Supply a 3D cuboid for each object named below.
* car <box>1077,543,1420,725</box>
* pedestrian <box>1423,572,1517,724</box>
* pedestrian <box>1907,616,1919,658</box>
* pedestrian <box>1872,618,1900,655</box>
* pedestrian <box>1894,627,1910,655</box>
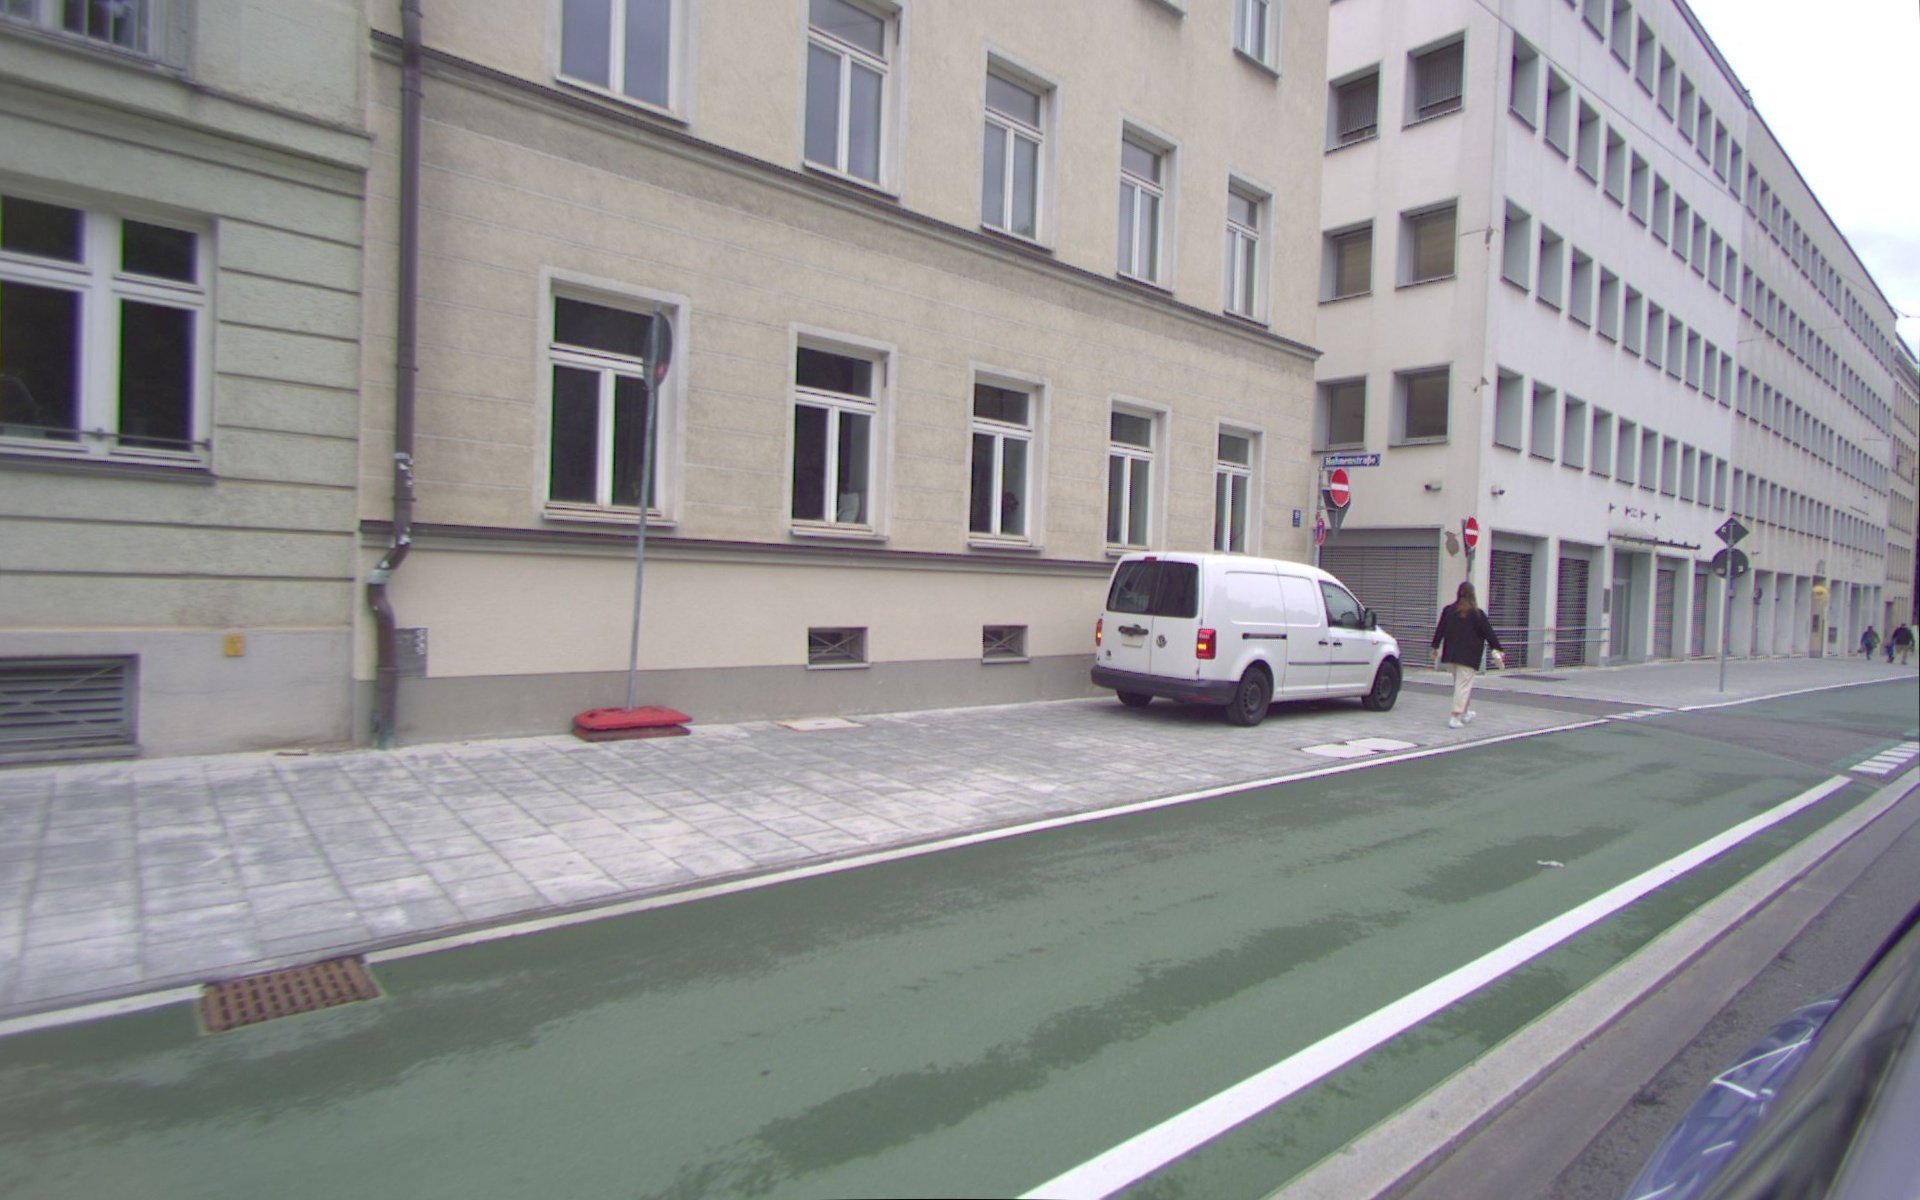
[{"bbox_3d":[3.543,0.336,12.004,4.356,1.771,1.737,1,2,-41],"label":"car"},{"bbox_3d":[5.848,0.528,11.602,0.724,1.656,0.666,2,2,-41],"label":"pedestrian"},{"bbox_3d":[43.274,1.658,45.708,0.591,1.857,0.514,2,4,-40],"label":"pedestrian"},{"bbox_3d":[43.513,1.731,47.576,0.691,1.638,0.754,2,4,-40],"label":"pedestrian"},{"bbox_3d":[43.065,1.872,46.269,0.461,1.261,0.368,2,4,-40],"label":"pedestrian"}]
